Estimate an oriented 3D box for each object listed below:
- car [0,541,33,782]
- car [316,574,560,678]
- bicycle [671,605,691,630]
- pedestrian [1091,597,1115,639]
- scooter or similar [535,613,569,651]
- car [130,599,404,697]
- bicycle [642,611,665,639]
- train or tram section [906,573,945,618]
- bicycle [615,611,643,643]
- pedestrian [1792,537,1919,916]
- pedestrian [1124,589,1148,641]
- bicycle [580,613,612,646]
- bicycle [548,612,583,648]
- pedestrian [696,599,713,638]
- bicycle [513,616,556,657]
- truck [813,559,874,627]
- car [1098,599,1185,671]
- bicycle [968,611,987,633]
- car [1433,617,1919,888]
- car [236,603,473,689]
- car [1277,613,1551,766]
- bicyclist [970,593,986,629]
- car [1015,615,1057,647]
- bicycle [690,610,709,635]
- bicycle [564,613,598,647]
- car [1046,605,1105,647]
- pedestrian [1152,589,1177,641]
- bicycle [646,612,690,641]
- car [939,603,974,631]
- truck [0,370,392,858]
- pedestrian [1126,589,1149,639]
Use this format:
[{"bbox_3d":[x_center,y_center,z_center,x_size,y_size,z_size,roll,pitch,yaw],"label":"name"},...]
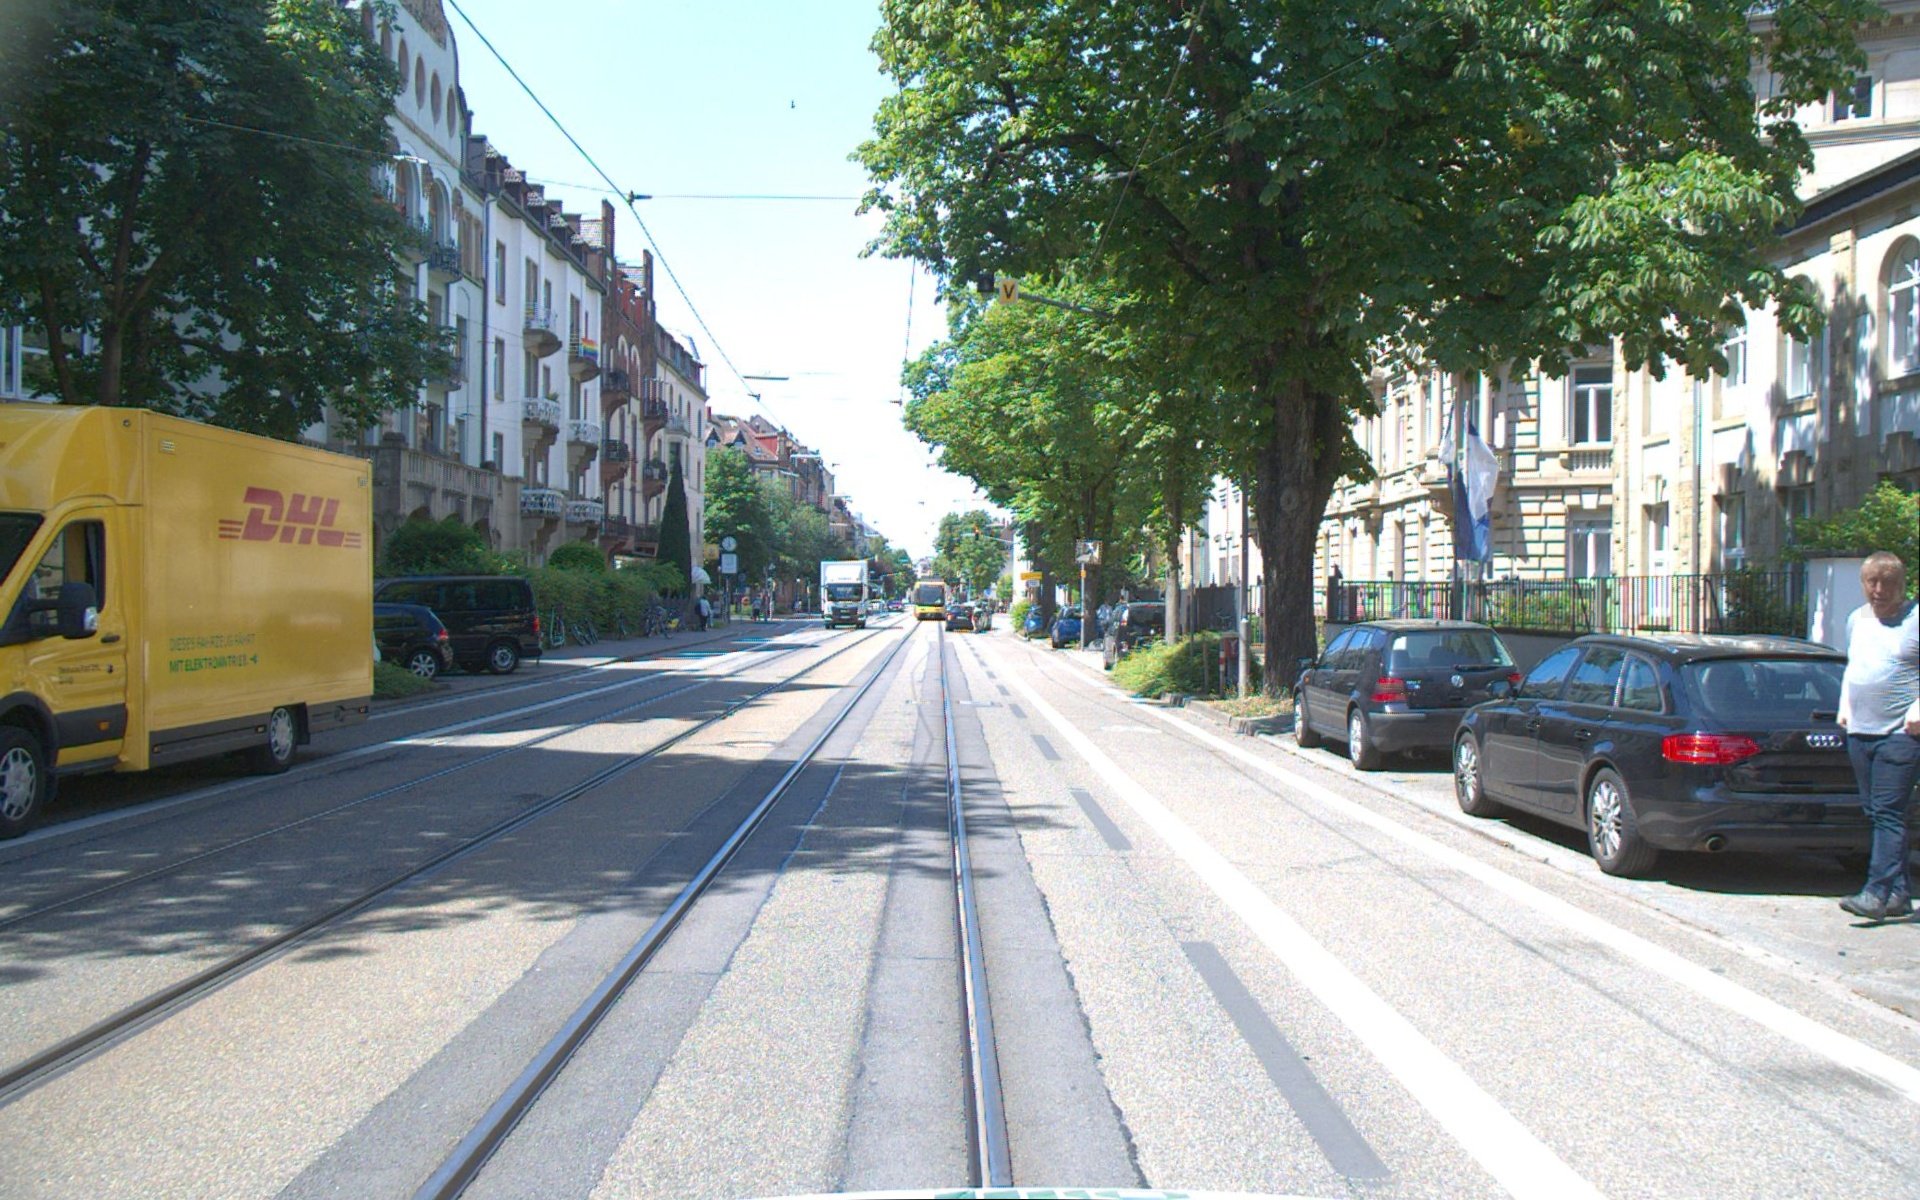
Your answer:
[{"bbox_3d":[-10.600,0.571,13.800,4.718,2.098,1.997,-1,0,-40],"label":"car"},{"bbox_3d":[-10.532,0.527,33.535,4.444,1.974,1.680,1,-1,-40],"label":"car"},{"bbox_3d":[-11.477,0.722,68.057,0.532,0.986,1.780,2,0,-1],"label":"bicycle"},{"bbox_3d":[5.384,0.688,62.166,0.791,1.557,0.624,0,-2,17],"label":"pedestrian"},{"bbox_3d":[-11.100,0.868,45.006,0.532,0.986,1.499,2,0,0],"label":"scooter or similar"},{"bbox_3d":[-11.237,0.752,26.982,1.675,1.482,3.787,-1,-1,43],"label":"car"},{"bbox_3d":[-11.372,0.908,61.385,0.532,0.986,1.781,2,0,-1],"label":"bicycle"},{"bbox_3d":[-2.767,-0.378,135.334,2.973,3.498,11.969,0,0,0],"label":"train or tram section"},{"bbox_3d":[-11.163,0.897,55.834,0.532,0.986,1.990,2,1,0],"label":"bicycle"},{"bbox_3d":[4.883,0.632,8.621,0.570,1.892,0.800,0,0,-36],"label":"pedestrian"},{"bbox_3d":[6.507,0.569,61.187,0.792,1.892,0.576,1,-2,-3],"label":"pedestrian"},{"bbox_3d":[-11.140,0.915,50.671,0.532,0.986,1.989,2,-2,0],"label":"bicycle"},{"bbox_3d":[-11.117,0.853,46.665,0.532,0.986,1.822,2,-2,0],"label":"bicycle"},{"bbox_3d":[-10.928,0.775,70.785,0.561,1.644,0.816,0,0,0],"label":"pedestrian"},{"bbox_3d":[-11.060,0.949,43.074,0.532,0.986,2.248,2,0,0],"label":"bicycle"},{"bbox_3d":[-6.417,-0.411,92.185,2.880,3.612,8.451,0,0,-1],"label":"truck"},{"bbox_3d":[4.317,0.824,39.830,1.560,1.645,3.906,0,0,-2],"label":"car"},{"bbox_3d":[0.834,1.033,77.977,0.625,0.986,1.782,2,-2,8],"label":"bicycle"},{"bbox_3d":[4.847,0.864,11.405,1.838,1.480,4.527,0,0,-1],"label":"car"},{"bbox_3d":[-11.051,0.821,30.323,3.778,1.482,1.609,1,-1,-41],"label":"car"},{"bbox_3d":[4.709,0.863,17.790,1.676,1.448,4.242,0,0,-2],"label":"car"},{"bbox_3d":[0.853,0.522,78.071,0.609,1.644,0.865,1,-2,8],"label":"bicyclist"},{"bbox_3d":[3.529,1.421,77.364,1.676,1.448,4.308,0,0,-2],"label":"car"},{"bbox_3d":[-11.390,0.979,72.393,0.532,0.986,1.781,2,1,-1],"label":"bicycle"},{"bbox_3d":[-11.133,0.875,48.623,0.532,0.986,1.989,2,-1,0],"label":"bicycle"},{"bbox_3d":[4.089,0.913,59.017,1.676,1.448,4.308,0,0,-2],"label":"car"},{"bbox_3d":[7.518,0.561,60.864,0.792,1.892,0.623,1,-2,-3],"label":"pedestrian"},{"bbox_3d":[-10.304,0.949,58.428,0.532,0.986,1.778,1,-2,28],"label":"bicycle"},{"bbox_3d":[-0.197,0.855,85.003,1.745,1.369,3.415,0,0,-1],"label":"car"},{"bbox_3d":[-6.856,0.073,12.855,2.312,2.902,7.378,0,0,0],"label":"truck"},{"bbox_3d":[6.754,0.524,62.975,0.792,1.892,0.623,1,-2,-3],"label":"pedestrian"}]
